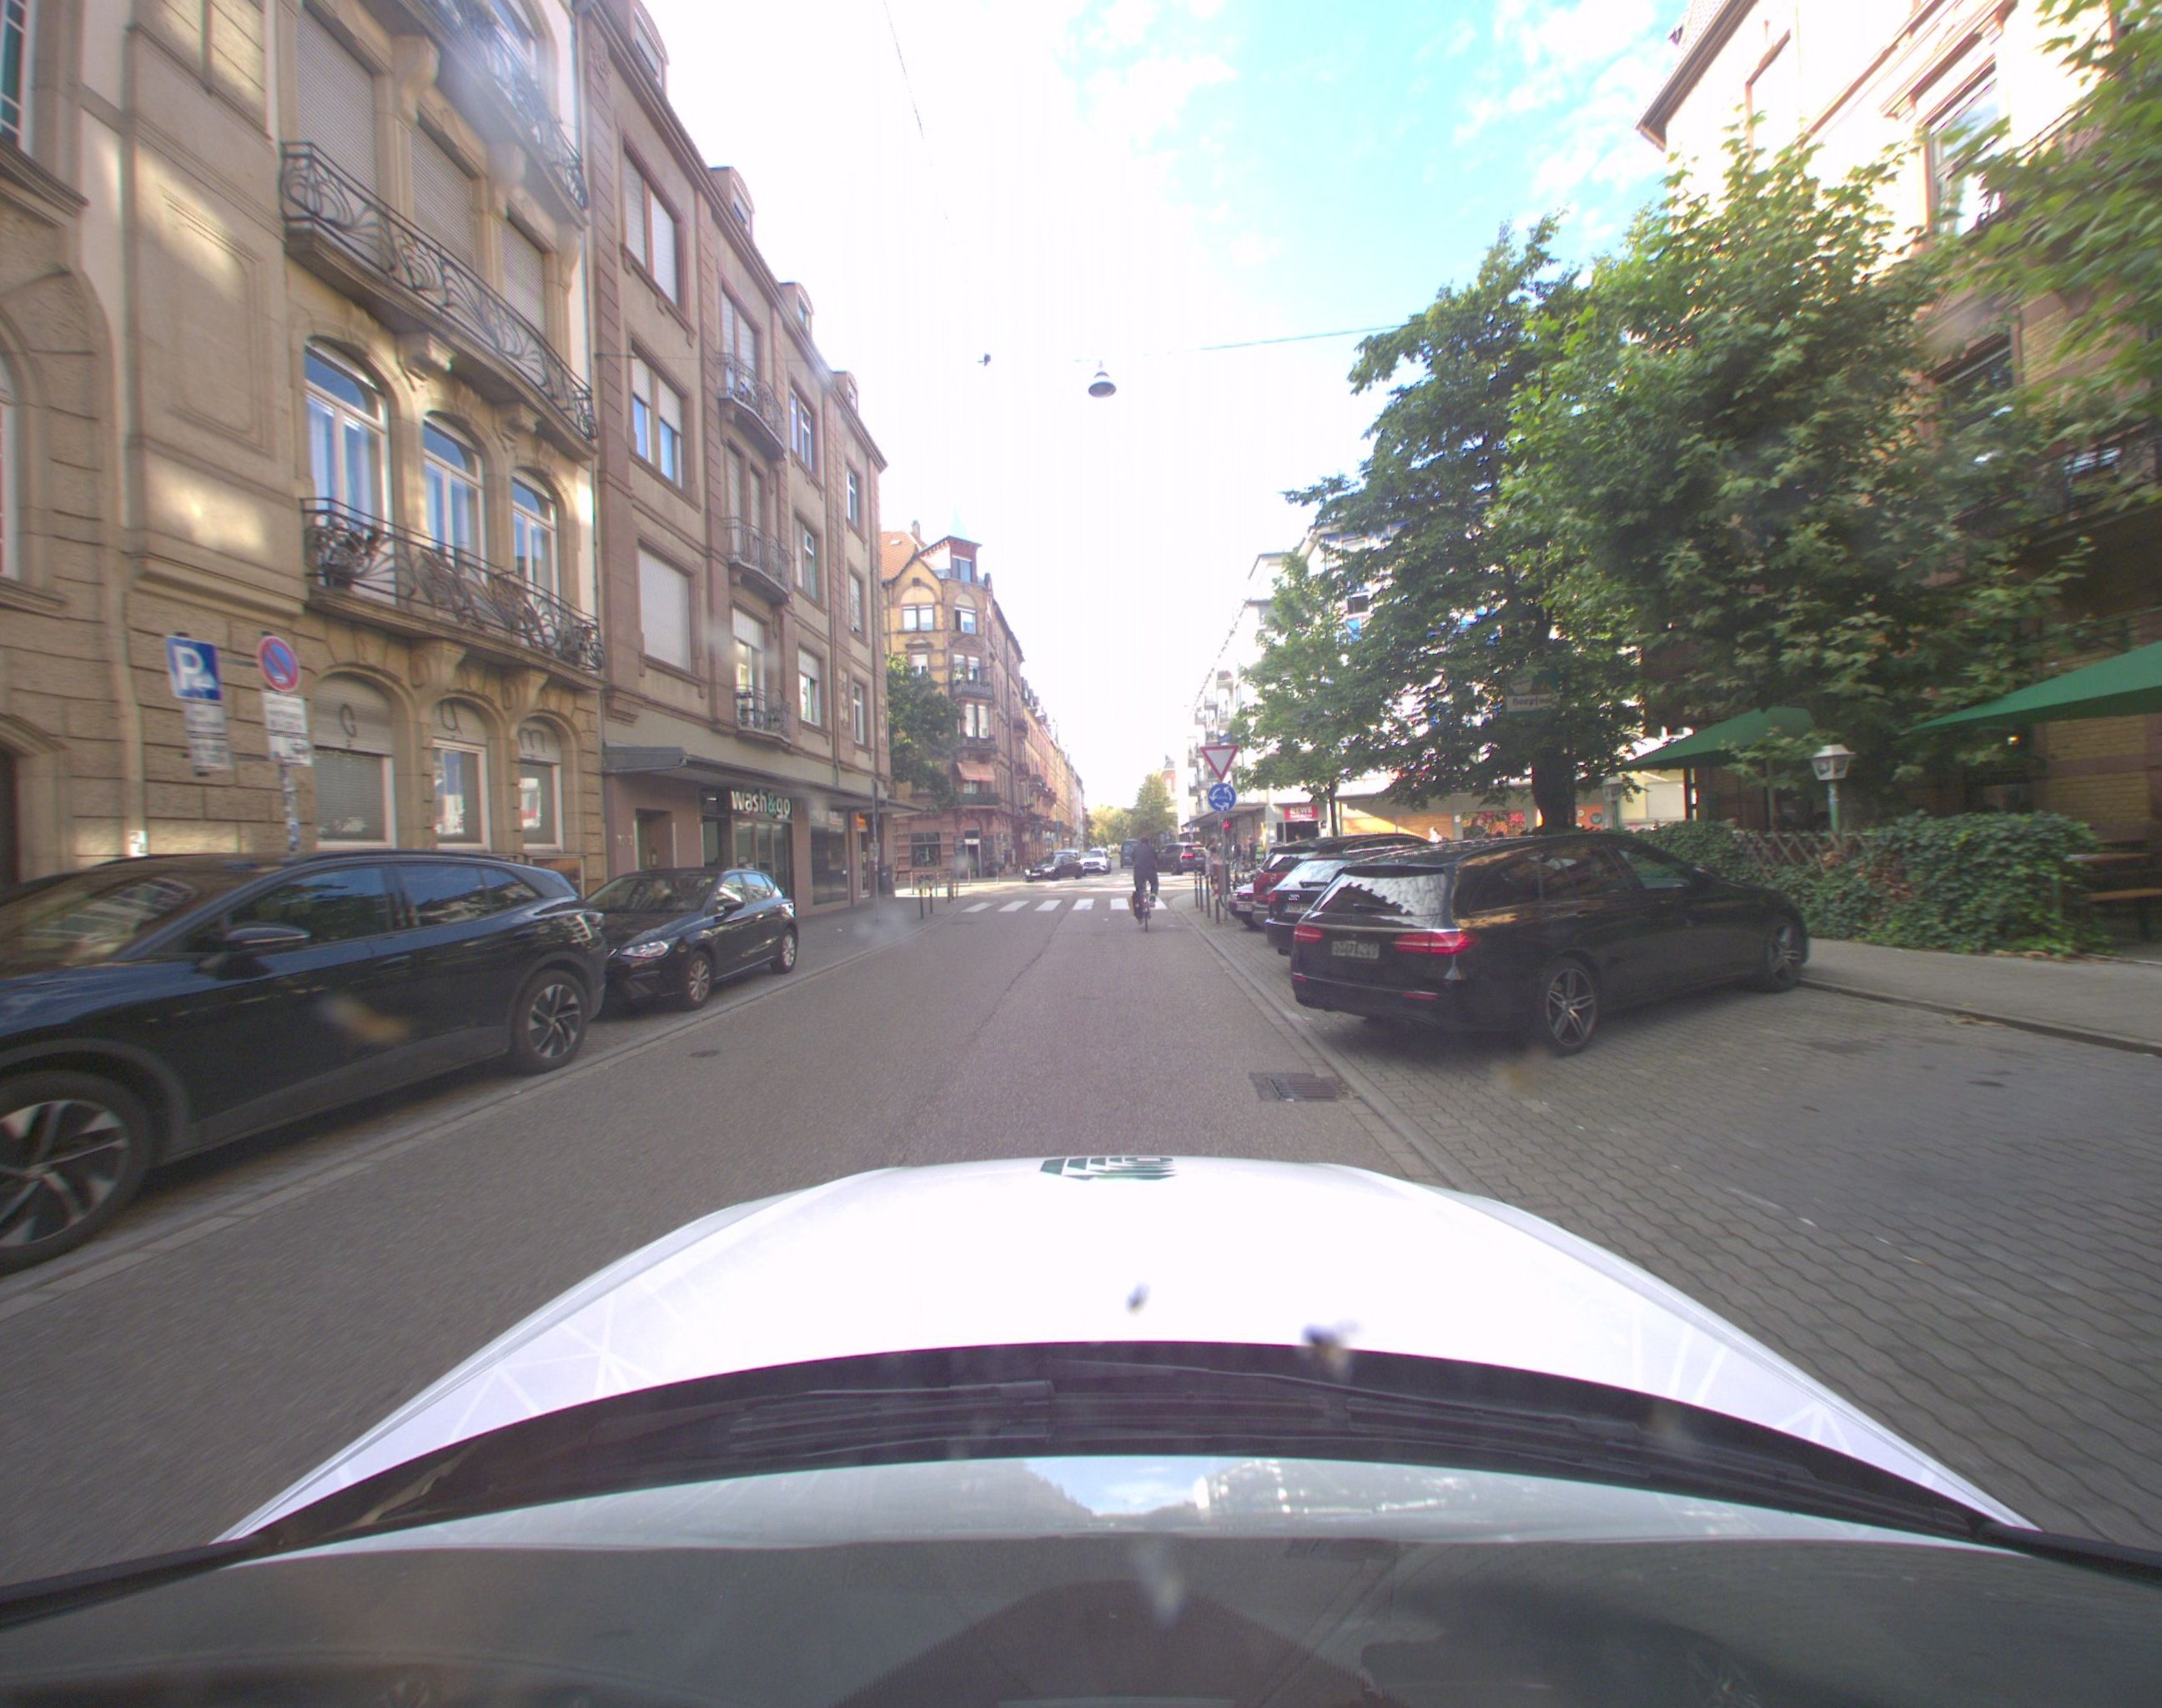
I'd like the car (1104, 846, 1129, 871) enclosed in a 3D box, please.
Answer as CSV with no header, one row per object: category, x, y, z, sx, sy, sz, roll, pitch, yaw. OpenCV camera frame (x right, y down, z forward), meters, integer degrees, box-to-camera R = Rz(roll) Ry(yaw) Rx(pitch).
car,2.795,0.337,63.180,1.785,1.790,4.740,-4,0,4

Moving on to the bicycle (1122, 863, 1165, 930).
bicycle,1.259,0.783,15.987,0.662,1.178,2.502,-1,0,8

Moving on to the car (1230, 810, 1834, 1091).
car,3.859,0.533,6.873,4.778,1.456,2.039,-5,2,-26

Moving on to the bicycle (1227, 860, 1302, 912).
bicycle,3.974,0.706,17.822,0.462,1.040,1.841,-6,0,-26

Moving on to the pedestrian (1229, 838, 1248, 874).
pedestrian,8.318,0.092,43.054,0.864,1.851,0.614,-3,0,7

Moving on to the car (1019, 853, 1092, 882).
car,-1.318,0.725,43.627,1.733,1.436,4.238,-2,-1,35

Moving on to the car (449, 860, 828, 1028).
car,-4.758,0.851,9.649,1.986,1.420,4.246,-3,0,2

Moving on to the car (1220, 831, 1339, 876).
car,8.892,-0.004,36.828,2.055,1.724,4.785,-5,2,-44

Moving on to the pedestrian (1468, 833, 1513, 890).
pedestrian,9.997,0.177,19.887,0.754,1.342,0.596,-3,0,-2

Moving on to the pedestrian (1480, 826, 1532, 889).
pedestrian,10.014,0.077,19.205,0.795,1.406,0.702,-3,0,-2

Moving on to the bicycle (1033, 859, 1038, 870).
bicycle,-4.065,0.966,73.250,0.359,0.947,1.714,-2,0,-2

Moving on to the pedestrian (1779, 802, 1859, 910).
pedestrian,11.213,0.029,12.388,0.626,1.570,0.570,-3,0,-2

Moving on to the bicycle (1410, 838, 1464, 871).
bicycle,14.281,0.018,32.716,1.951,1.199,0.716,-3,0,22

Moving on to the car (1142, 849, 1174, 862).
car,9.810,0.224,103.943,3.974,1.486,2.000,-3,0,0

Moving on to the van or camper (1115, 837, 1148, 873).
van or camper,4.445,0.087,72.505,2.523,3.037,4.459,-3,0,0

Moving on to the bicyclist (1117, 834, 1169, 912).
bicyclist,1.229,0.363,16.005,0.928,1.484,0.749,-1,0,7

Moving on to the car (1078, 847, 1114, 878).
car,1.028,0.498,53.659,1.933,1.722,4.857,-4,1,5

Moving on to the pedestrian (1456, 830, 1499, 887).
pedestrian,9.961,0.104,20.474,0.754,1.392,0.549,-3,0,-2

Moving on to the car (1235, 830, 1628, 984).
car,4.356,0.537,10.142,4.419,1.457,1.928,-3,0,-22

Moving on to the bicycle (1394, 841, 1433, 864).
bicycle,16.311,-0.078,40.006,1.663,1.050,0.461,-3,0,42

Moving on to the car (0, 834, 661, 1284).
car,-4.739,0.785,4.767,1.783,1.628,4.851,-2,0,3

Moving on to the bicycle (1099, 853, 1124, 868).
bicycle,2.263,0.494,61.199,1.798,1.027,0.674,-3,0,-35

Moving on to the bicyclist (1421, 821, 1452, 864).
bicyclist,14.271,-0.459,32.724,1.004,1.668,0.948,-3,0,20

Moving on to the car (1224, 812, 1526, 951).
car,4.648,0.343,12.830,4.361,1.645,1.807,-5,1,-24

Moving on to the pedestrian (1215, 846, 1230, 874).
pedestrian,8.489,0.378,48.856,0.740,1.629,0.815,-3,0,14

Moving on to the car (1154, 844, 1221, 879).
car,5.426,0.363,41.844,1.997,1.618,3.979,-3,0,-15

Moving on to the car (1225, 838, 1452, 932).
car,4.897,0.522,15.457,3.951,1.457,1.755,-2,0,-26

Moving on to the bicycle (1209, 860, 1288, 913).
bicycle,3.574,0.695,17.511,0.551,1.040,1.841,-6,0,-26

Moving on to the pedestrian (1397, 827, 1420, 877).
pedestrian,11.780,-0.075,29.330,0.624,1.739,0.779,-3,0,15

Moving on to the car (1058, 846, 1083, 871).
car,-0.866,0.378,70.207,1.987,2.013,4.000,-3,0,1

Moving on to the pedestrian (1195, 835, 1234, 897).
pedestrian,3.964,0.352,24.200,0.774,1.779,0.798,-3,0,41

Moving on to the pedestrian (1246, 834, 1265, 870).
pedestrian,9.189,-0.116,42.873,0.864,1.851,0.614,-3,0,7

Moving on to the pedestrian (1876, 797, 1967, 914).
pedestrian,11.762,0.025,11.411,0.626,1.570,0.570,-3,0,-2
